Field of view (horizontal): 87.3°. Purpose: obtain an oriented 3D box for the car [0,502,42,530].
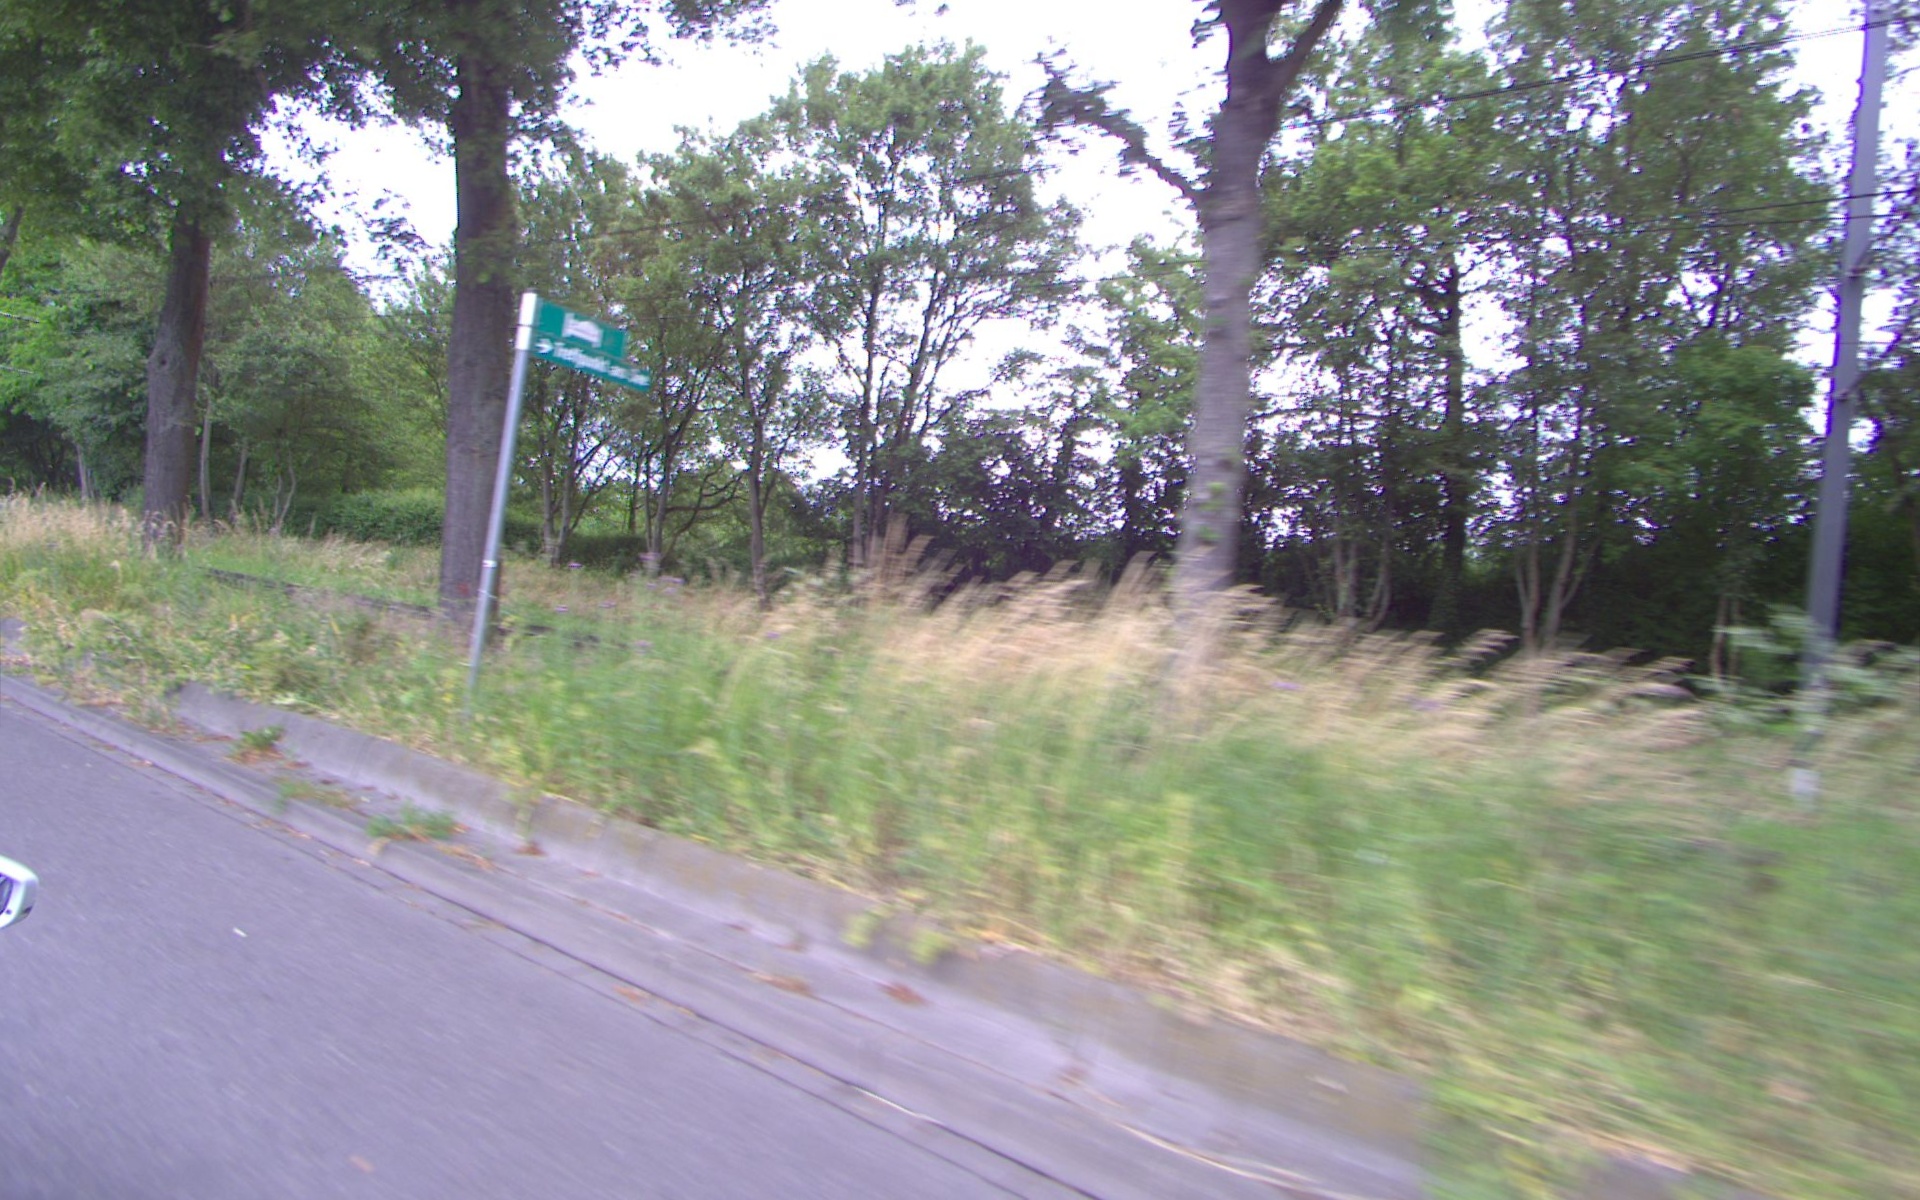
[{"bbox_3d":[-60.045,-5.448,62.406,1.965,1.368,4.003,7,-4,27],"label":"car"}]
